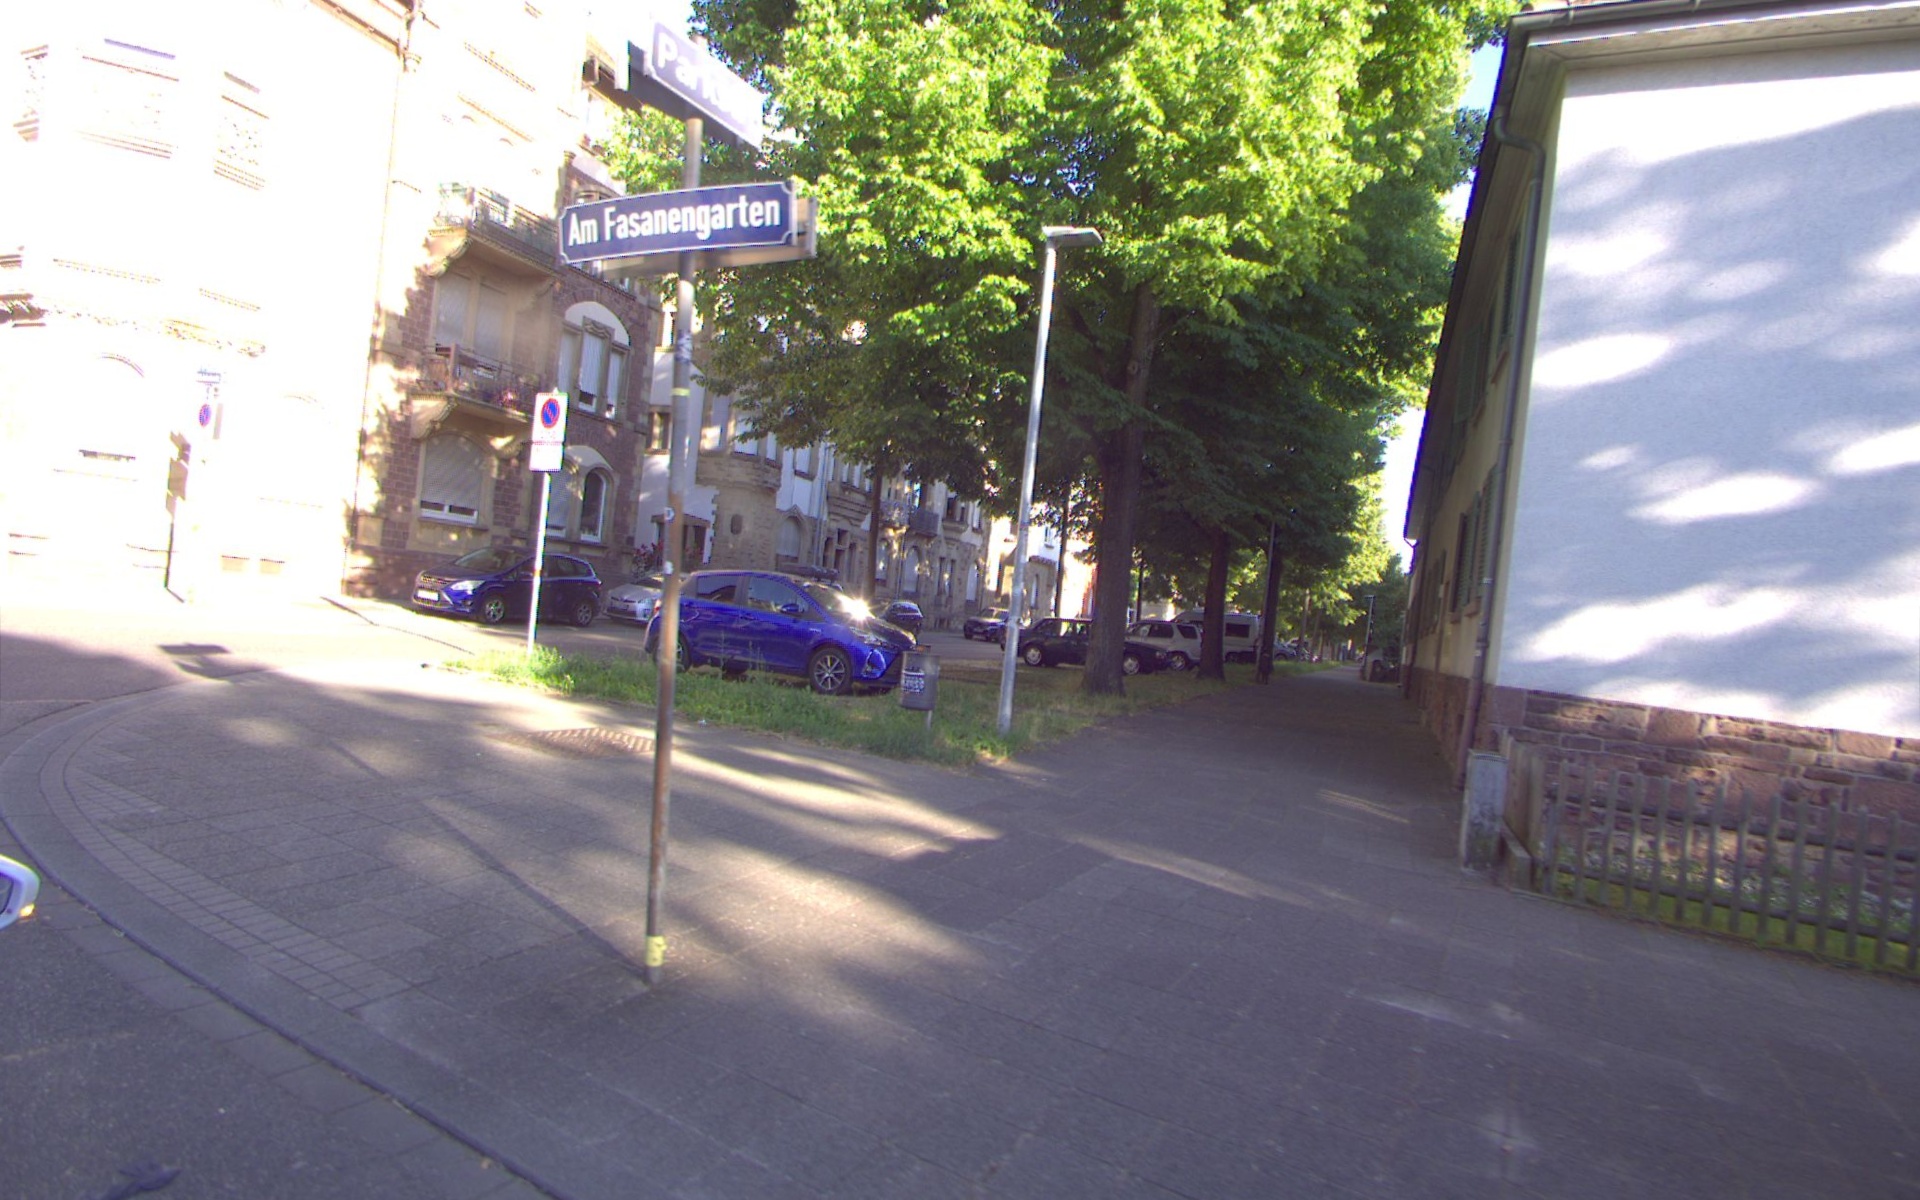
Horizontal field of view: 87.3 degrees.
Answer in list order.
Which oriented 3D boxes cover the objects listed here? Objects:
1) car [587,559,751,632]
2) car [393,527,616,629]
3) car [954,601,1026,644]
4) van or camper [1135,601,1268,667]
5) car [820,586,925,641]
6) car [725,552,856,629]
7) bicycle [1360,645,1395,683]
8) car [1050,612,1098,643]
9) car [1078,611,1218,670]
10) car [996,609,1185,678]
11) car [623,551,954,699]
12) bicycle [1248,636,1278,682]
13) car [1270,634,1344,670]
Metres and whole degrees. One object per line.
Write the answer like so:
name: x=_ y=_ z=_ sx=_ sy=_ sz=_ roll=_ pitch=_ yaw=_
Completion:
car: x=-7.545 y=-0.047 z=26.573 sx=1.703 sy=1.517 sz=4.453 roll=8 pitch=0 yaw=21
car: x=-9.630 y=-0.397 z=21.665 sx=1.703 sy=1.641 sz=4.260 roll=8 pitch=-1 yaw=21
car: x=1.509 y=1.118 z=48.597 sx=2.018 sy=1.641 sz=4.396 roll=6 pitch=-1 yaw=21
van or camper: x=11.080 y=1.572 z=46.130 sx=5.490 sy=2.567 sz=2.269 roll=4 pitch=-2 yaw=22
car: x=-3.152 y=0.533 z=37.294 sx=1.704 sy=1.593 sz=4.707 roll=6 pitch=-1 yaw=24
car: x=-5.313 y=-0.232 z=32.208 sx=1.939 sy=1.999 sz=4.496 roll=8 pitch=1 yaw=21
bicycle: x=17.379 y=2.645 z=41.938 sx=0.787 sy=1.417 sz=2.005 roll=6 pitch=0 yaw=10
car: x=7.303 y=1.757 z=63.903 sx=1.729 sy=1.535 sz=4.113 roll=11 pitch=1 yaw=23
car: x=6.513 y=1.363 z=34.815 sx=4.408 sy=1.691 sz=1.941 roll=3 pitch=0 yaw=22
car: x=3.652 y=1.205 z=28.055 sx=4.820 sy=1.459 sz=1.943 roll=4 pitch=-2 yaw=22
car: x=-2.326 y=0.332 z=13.850 sx=3.926 sy=1.574 sz=2.000 roll=5 pitch=-2 yaw=21
bicycle: x=8.513 y=1.640 z=28.327 sx=0.618 sy=1.177 sz=1.935 roll=7 pitch=0 yaw=15
car: x=38.136 y=5.705 z=110.579 sx=7.225 sy=3.321 sz=2.222 roll=5 pitch=-1 yaw=25
